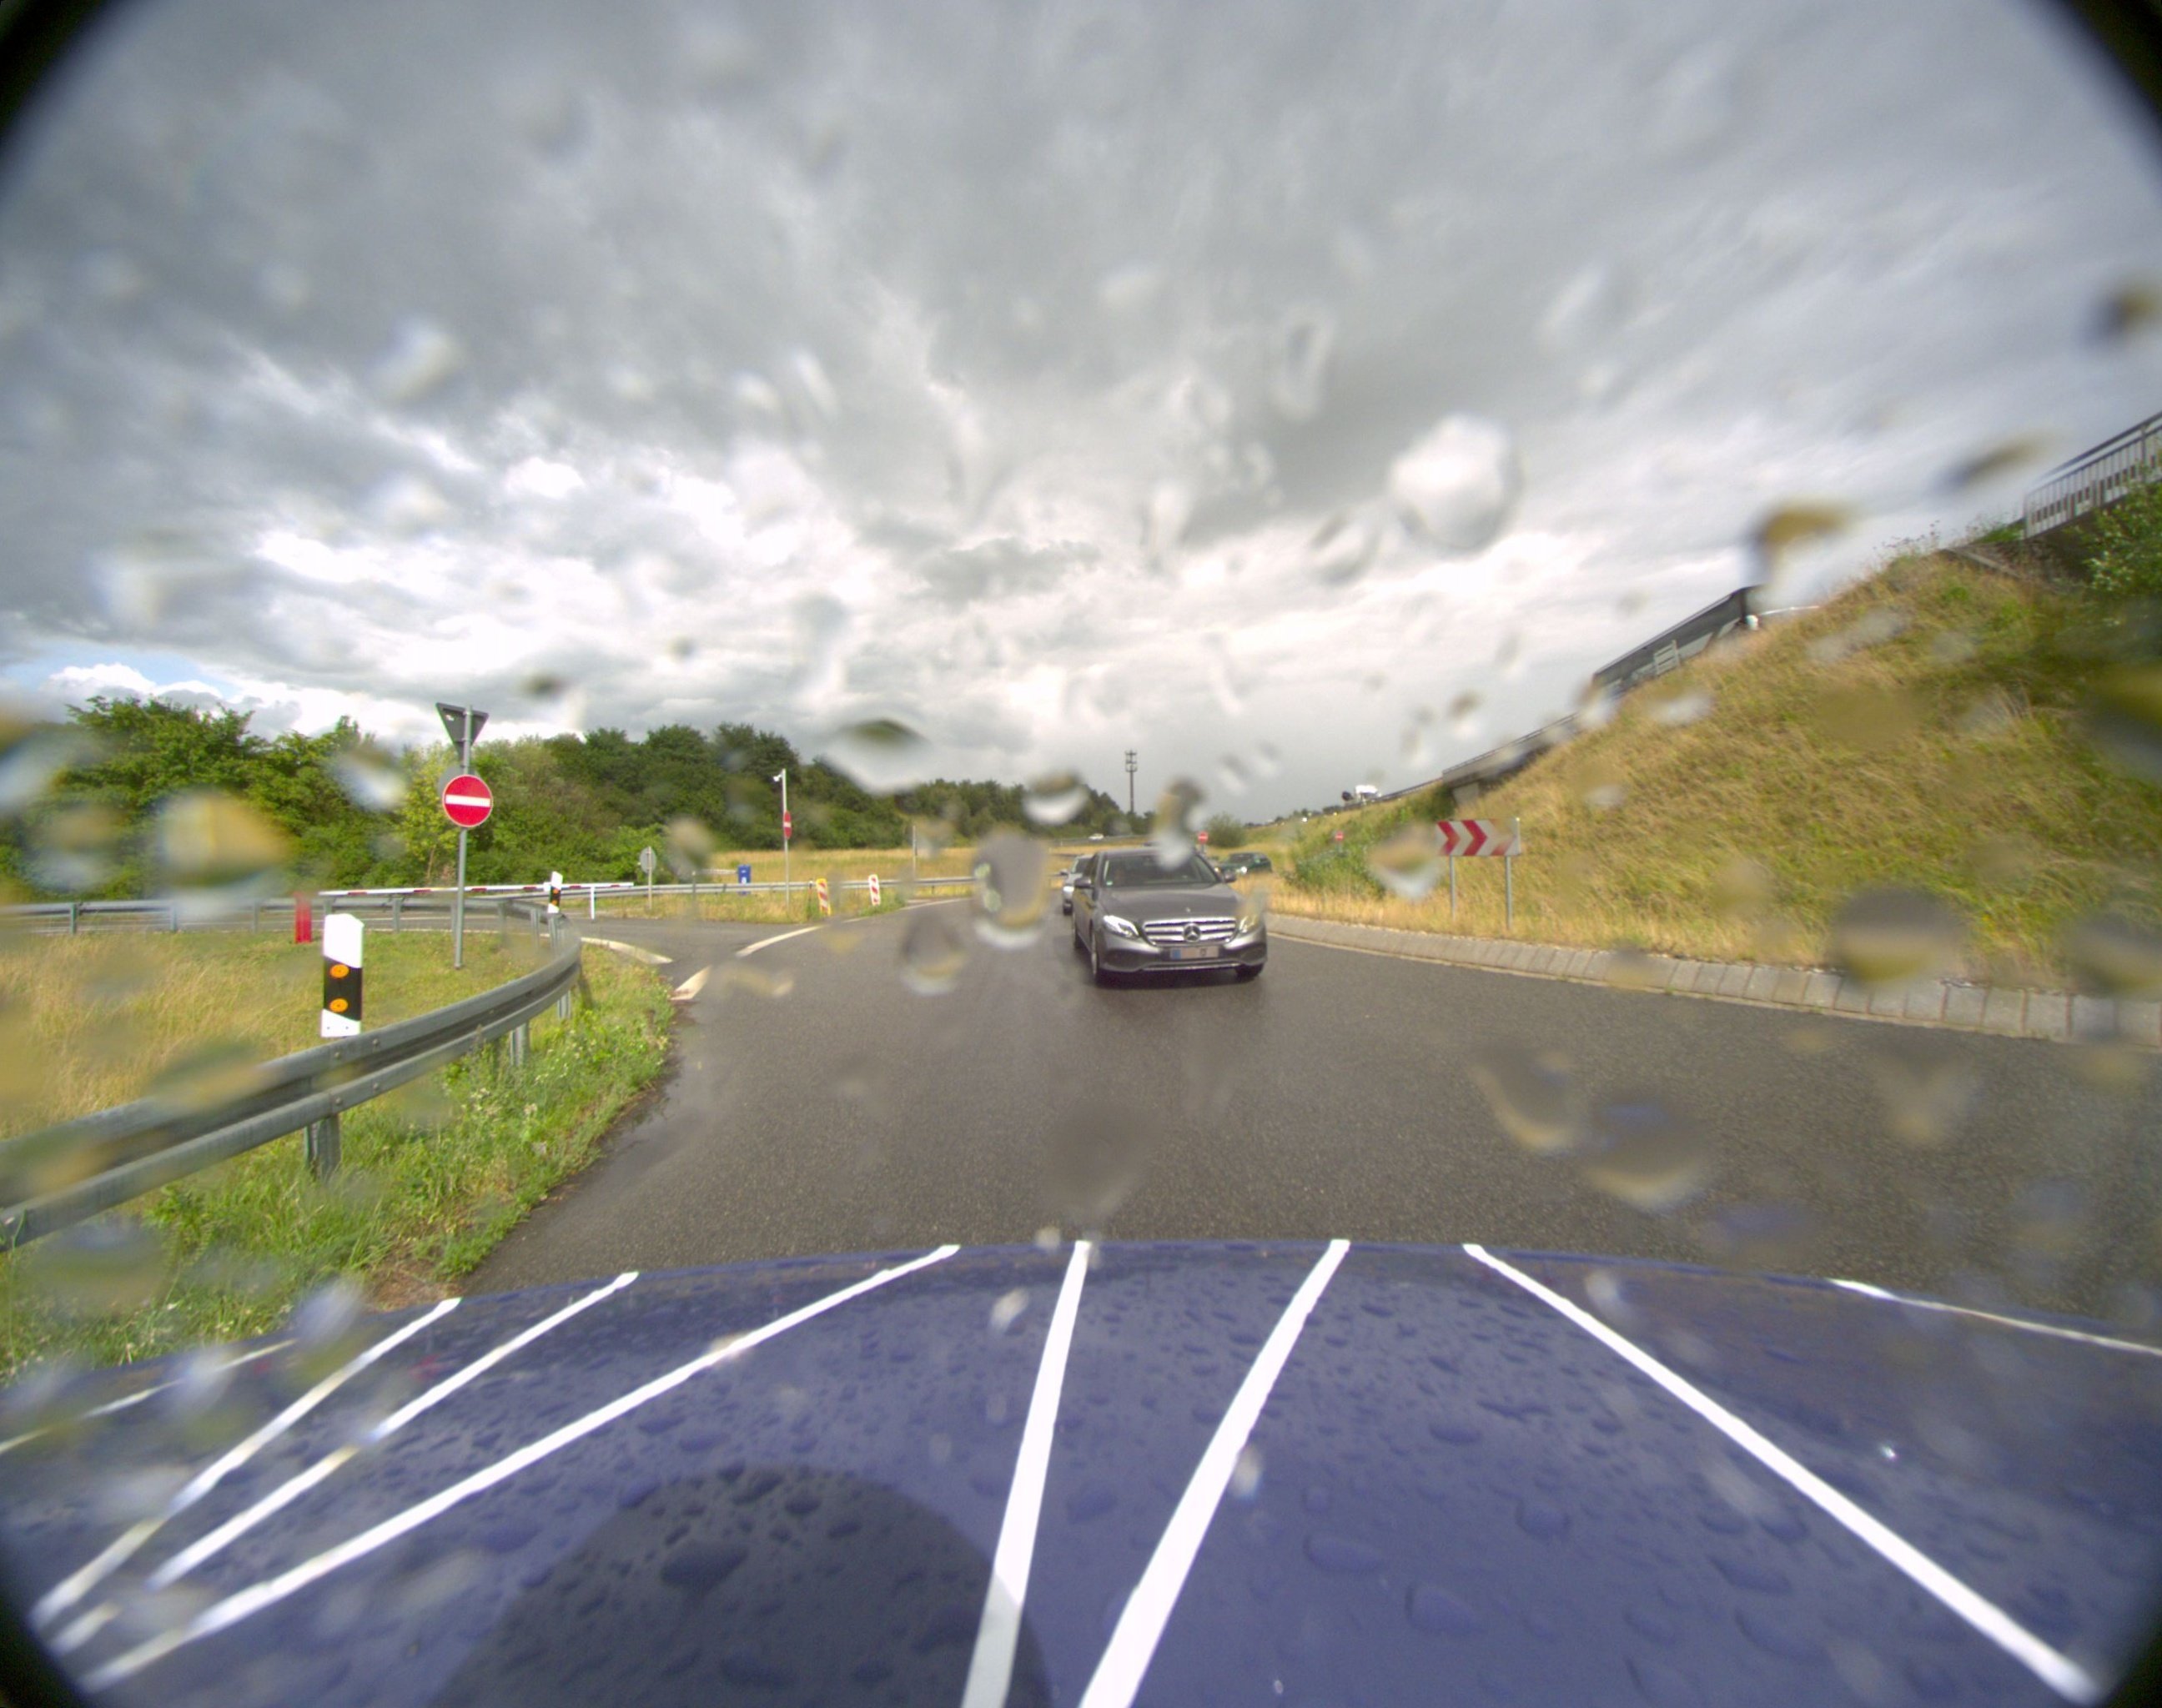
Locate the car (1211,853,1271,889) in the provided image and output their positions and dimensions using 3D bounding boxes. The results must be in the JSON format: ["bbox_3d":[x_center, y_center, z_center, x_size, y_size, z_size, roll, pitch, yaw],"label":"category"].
[{"bbox_3d":[7.182,0.699,33.820,1.770,1.476,3.840,0,0,25],"label":"car"}]

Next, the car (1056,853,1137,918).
[{"bbox_3d":[0.326,0.699,19.085,1.797,1.390,4.348,0,1,-1],"label":"car"}]

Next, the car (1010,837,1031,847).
[{"bbox_3d":[-9.385,-1.821,118.108,1.973,1.528,3.934,0,0,17],"label":"car"}]

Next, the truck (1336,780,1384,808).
[{"bbox_3d":[39.998,-8.533,109.194,3.159,3.176,9.276,-2,1,-2],"label":"truck"}]

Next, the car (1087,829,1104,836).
[{"bbox_3d":[3.502,-5.141,180.144,1.762,1.634,3.902,-2,1,41],"label":"car"}]

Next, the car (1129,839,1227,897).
[{"bbox_3d":[3.923,0.473,29.727,1.889,1.904,5.690,-2,1,27],"label":"car"}]

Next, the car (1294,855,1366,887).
[{"bbox_3d":[12.969,0.853,39.499,3.936,1.528,1.568,-1,0,-36],"label":"car"}]

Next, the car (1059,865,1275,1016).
[{"bbox_3d":[0.762,0.862,9.505,1.771,1.383,4.589,-1,-1,-5],"label":"car"}]

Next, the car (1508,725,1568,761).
[{"bbox_3d":[30.540,-7.392,50.914,1.711,1.517,4.496,-12,-1,10],"label":"car"}]

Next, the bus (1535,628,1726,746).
[{"bbox_3d":[27.602,-8.098,39.432,2.608,3.062,14.476,-2,1,13],"label":"bus"}]
